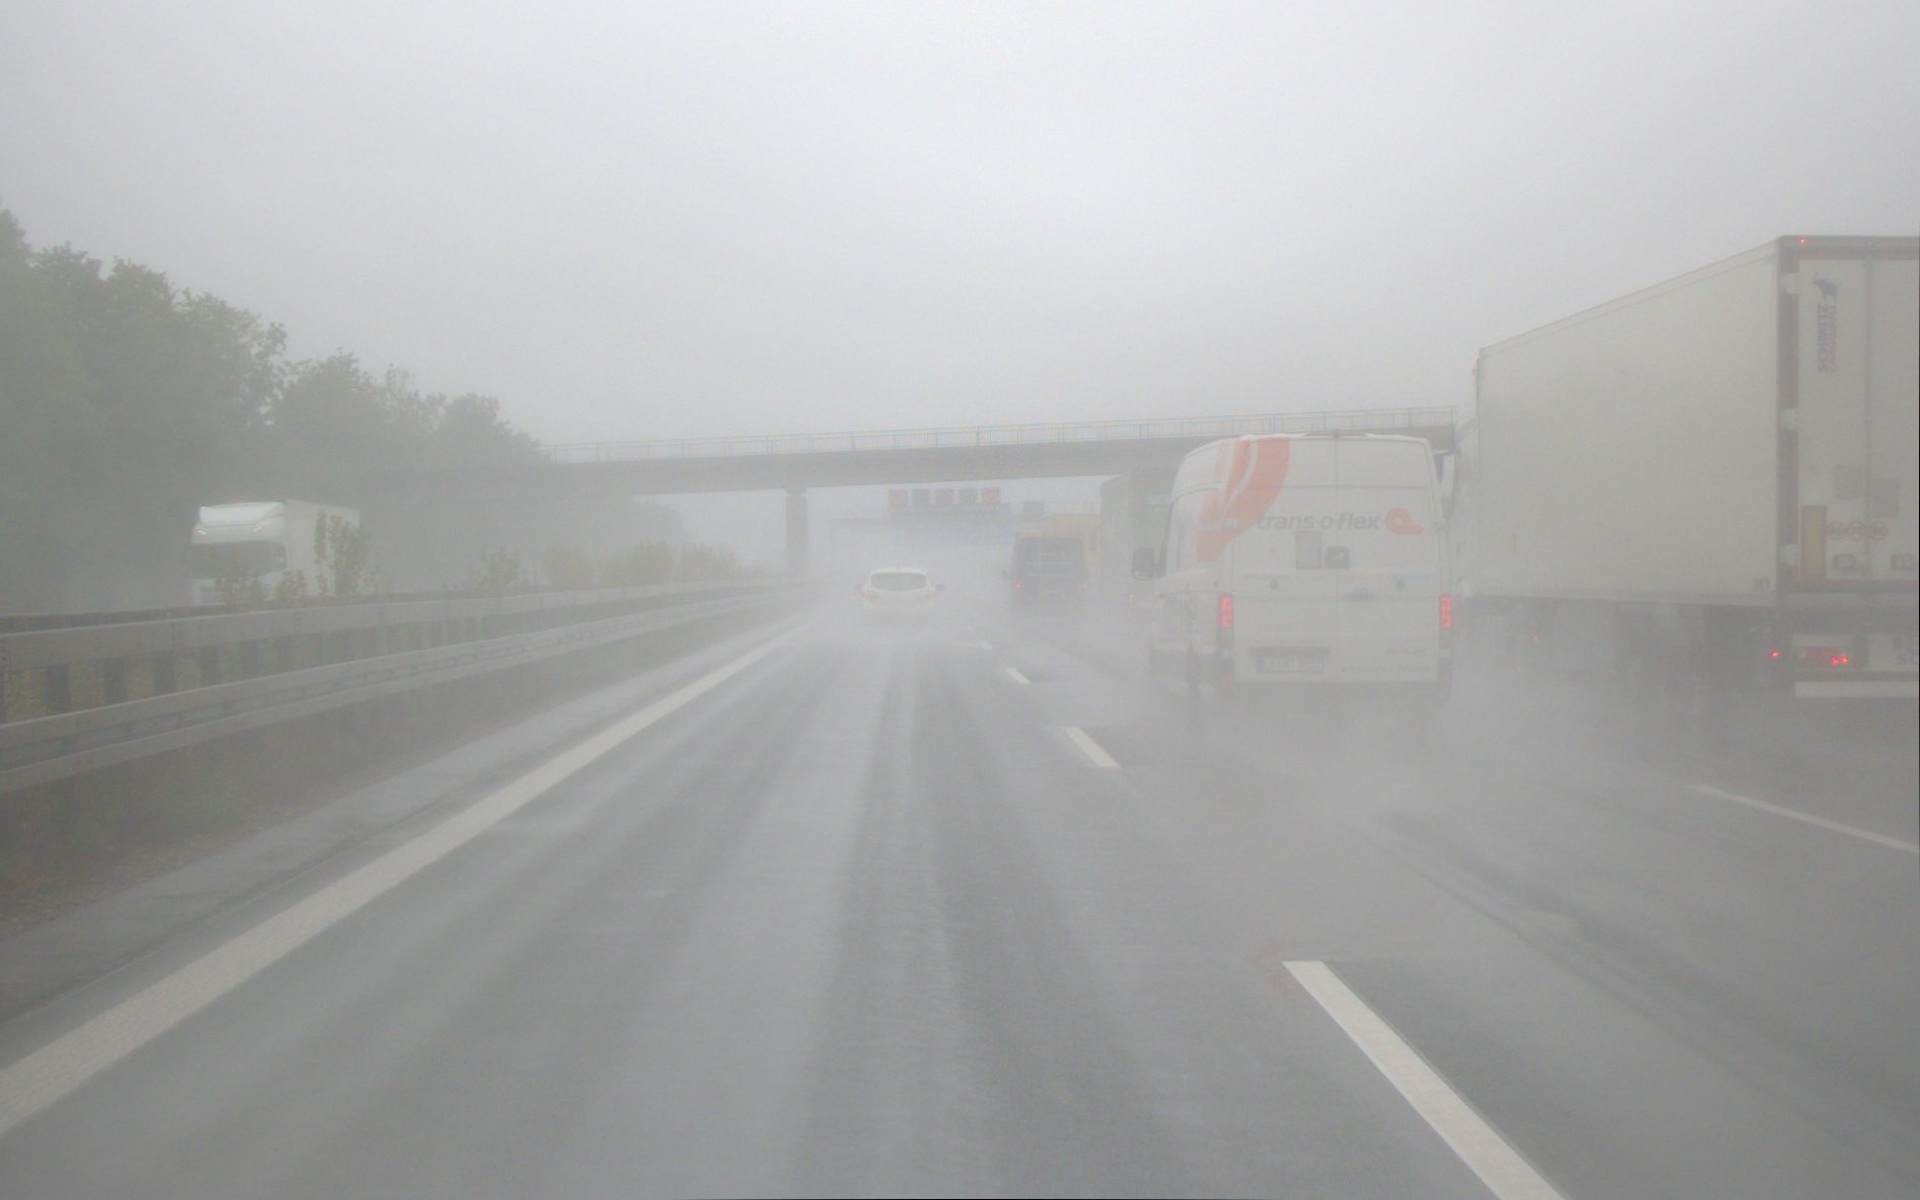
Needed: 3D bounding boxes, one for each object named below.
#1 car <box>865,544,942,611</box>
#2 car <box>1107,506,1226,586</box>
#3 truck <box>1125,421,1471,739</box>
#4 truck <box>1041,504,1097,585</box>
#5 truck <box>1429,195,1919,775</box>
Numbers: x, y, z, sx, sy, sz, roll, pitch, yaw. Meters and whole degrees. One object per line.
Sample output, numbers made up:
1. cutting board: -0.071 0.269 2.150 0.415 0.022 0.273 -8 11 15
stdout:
1. car: -1.223 -0.500 74.503 1.605 1.333 3.849 1 2 -1
2. car: 5.449 -1.459 91.449 2.788 2.006 4.993 1 2 -1
3. truck: 2.796 -0.249 29.902 2.419 2.484 5.560 1 2 0
4. truck: 4.847 -2.516 153.352 2.109 3.504 5.248 1 2 -2
5. truck: 7.709 -1.039 35.382 3.039 4.572 16.352 1 1 -2
